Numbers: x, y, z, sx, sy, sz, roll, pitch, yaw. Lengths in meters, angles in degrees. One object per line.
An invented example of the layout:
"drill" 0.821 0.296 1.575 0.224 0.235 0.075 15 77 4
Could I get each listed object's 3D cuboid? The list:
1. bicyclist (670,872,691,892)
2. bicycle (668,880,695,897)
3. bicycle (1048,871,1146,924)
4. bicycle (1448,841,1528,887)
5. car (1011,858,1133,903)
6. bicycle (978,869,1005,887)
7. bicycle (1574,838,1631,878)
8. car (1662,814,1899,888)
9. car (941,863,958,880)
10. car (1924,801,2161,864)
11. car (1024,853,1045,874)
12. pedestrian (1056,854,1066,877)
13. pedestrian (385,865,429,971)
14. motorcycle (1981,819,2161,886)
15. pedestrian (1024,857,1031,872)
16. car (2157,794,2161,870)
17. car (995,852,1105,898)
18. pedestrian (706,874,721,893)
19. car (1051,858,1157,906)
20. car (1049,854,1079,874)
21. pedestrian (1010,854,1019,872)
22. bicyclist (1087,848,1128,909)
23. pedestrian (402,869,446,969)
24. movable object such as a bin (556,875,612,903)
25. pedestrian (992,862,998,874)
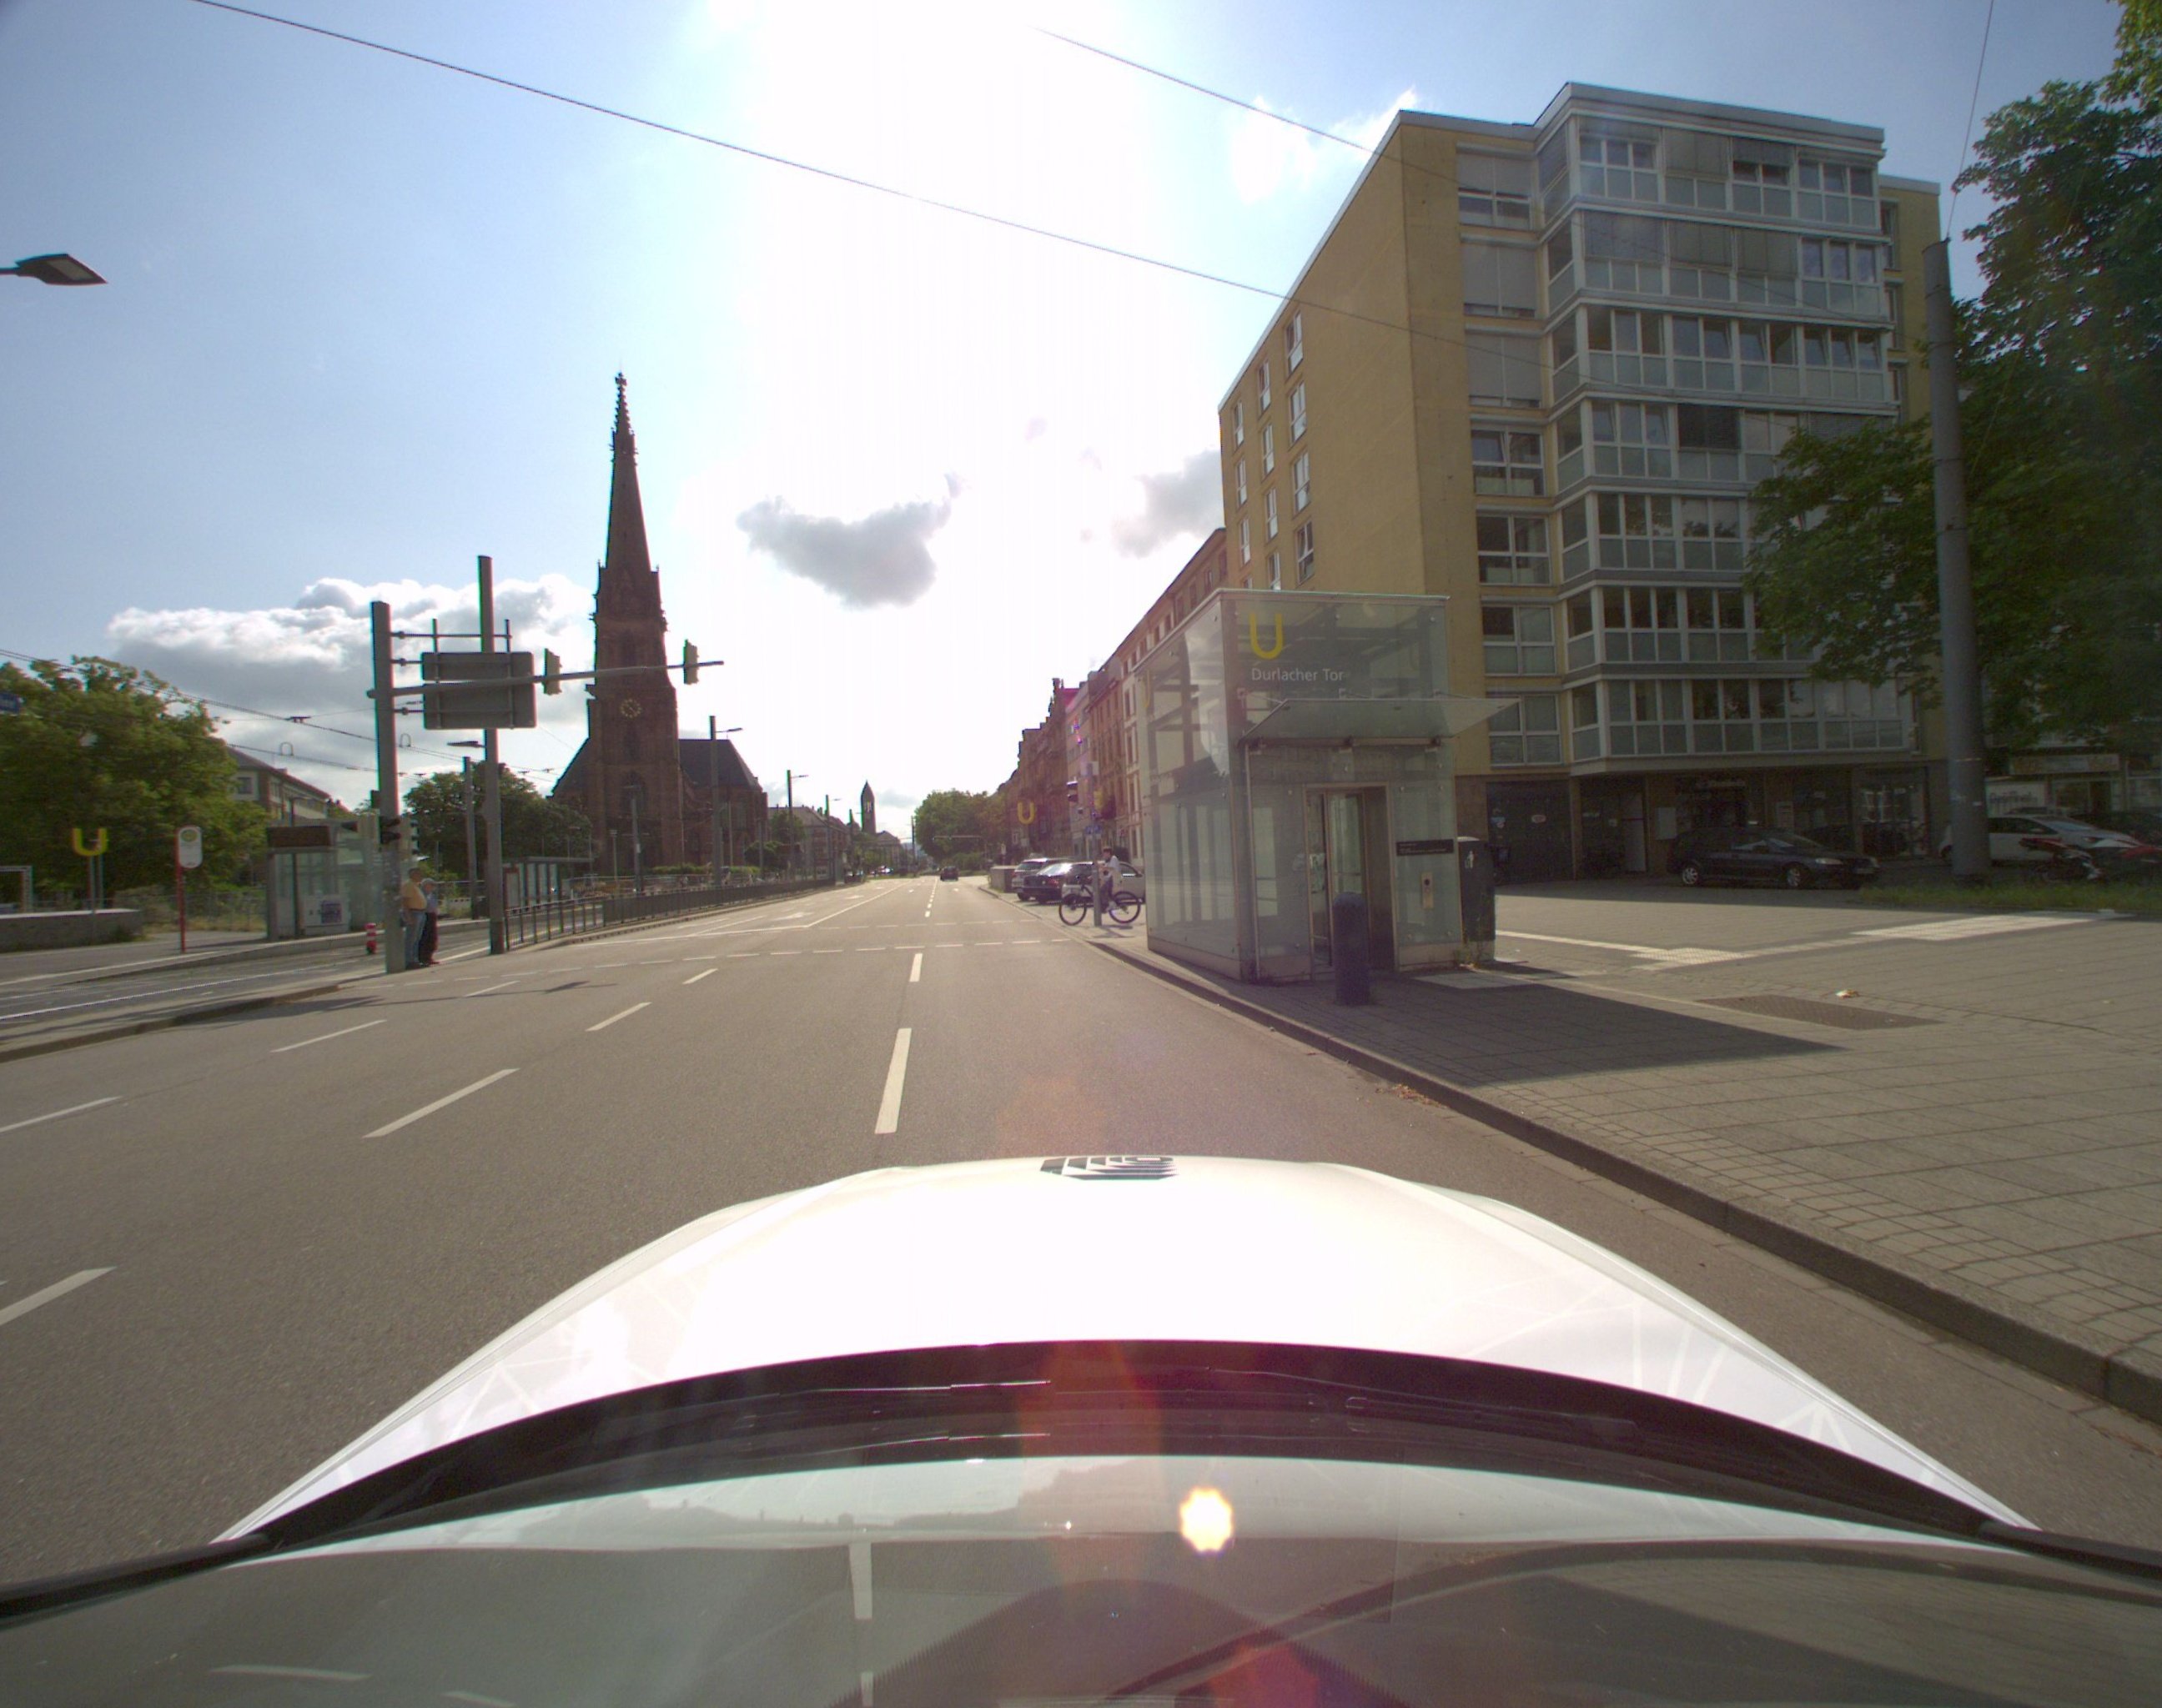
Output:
"bicyclist" -36.029 2.523 73.288 1.178 1.684 1.677 -3 -1 -12
"bicycle" -36.044 3.094 73.513 1.194 1.427 3.678 -3 -1 -12
"bicycle" 0.362 0.989 18.453 2.077 1.106 0.547 -2 1 16
"bicycle" 11.744 0.284 23.499 2.190 1.202 0.476 -3 1 -11
"car" -0.257 0.947 30.319 1.914 1.460 4.629 -3 -1 40
"bicycle" -6.643 1.771 60.582 1.933 1.237 0.438 -3 1 -24
"bicycle" 15.612 0.103 24.390 1.341 1.129 0.592 -3 1 -7
"car" 16.668 -0.044 19.715 1.804 1.514 4.080 -3 0 -11
"car" -15.144 1.994 93.443 1.690 1.711 3.595 -3 2 -12
"car" 26.285 -0.586 22.350 1.804 1.514 4.080 -3 2 -11
"car" -6.187 1.253 106.703 1.994 2.525 5.868 -3 0 -10
"pedestrian" -1.906 1.093 77.246 0.721 2.099 0.784 -3 1 -10
"pedestrian" -13.218 1.233 15.982 0.427 2.013 0.574 -3 -1 -22
"motorcycle" 17.008 -0.014 13.755 2.264 1.030 0.981 -3 -2 39
"pedestrian" -6.737 1.344 101.993 0.664 1.836 0.690 -3 -1 -16
"car" 22.982 -0.430 15.390 3.999 1.706 1.987 -3 0 -19
"car" -1.216 0.850 33.950 2.035 1.647 4.626 -3 0 37
"pedestrian" -39.902 3.211 88.389 1.065 2.013 1.048 -3 -1 -7
"car" 0.834 0.921 27.658 1.756 1.453 3.518 -3 -2 39
"car" -1.818 1.042 84.657 1.997 1.862 4.727 -3 -1 -15
"pedestrian" -7.322 0.966 89.393 0.667 1.903 0.688 -3 -1 -29
"bicyclist" 0.597 0.544 18.364 0.775 1.336 0.397 -2 1 17
"pedestrian" -13.625 1.324 16.896 0.504 2.013 0.512 -3 -1 -22
"movable object such as a bin" -58.190 4.108 95.489 5.151 2.911 1.988 -3 -1 -18
"pedestrian" -14.303 2.337 135.126 0.768 2.013 0.713 -3 -1 -10
